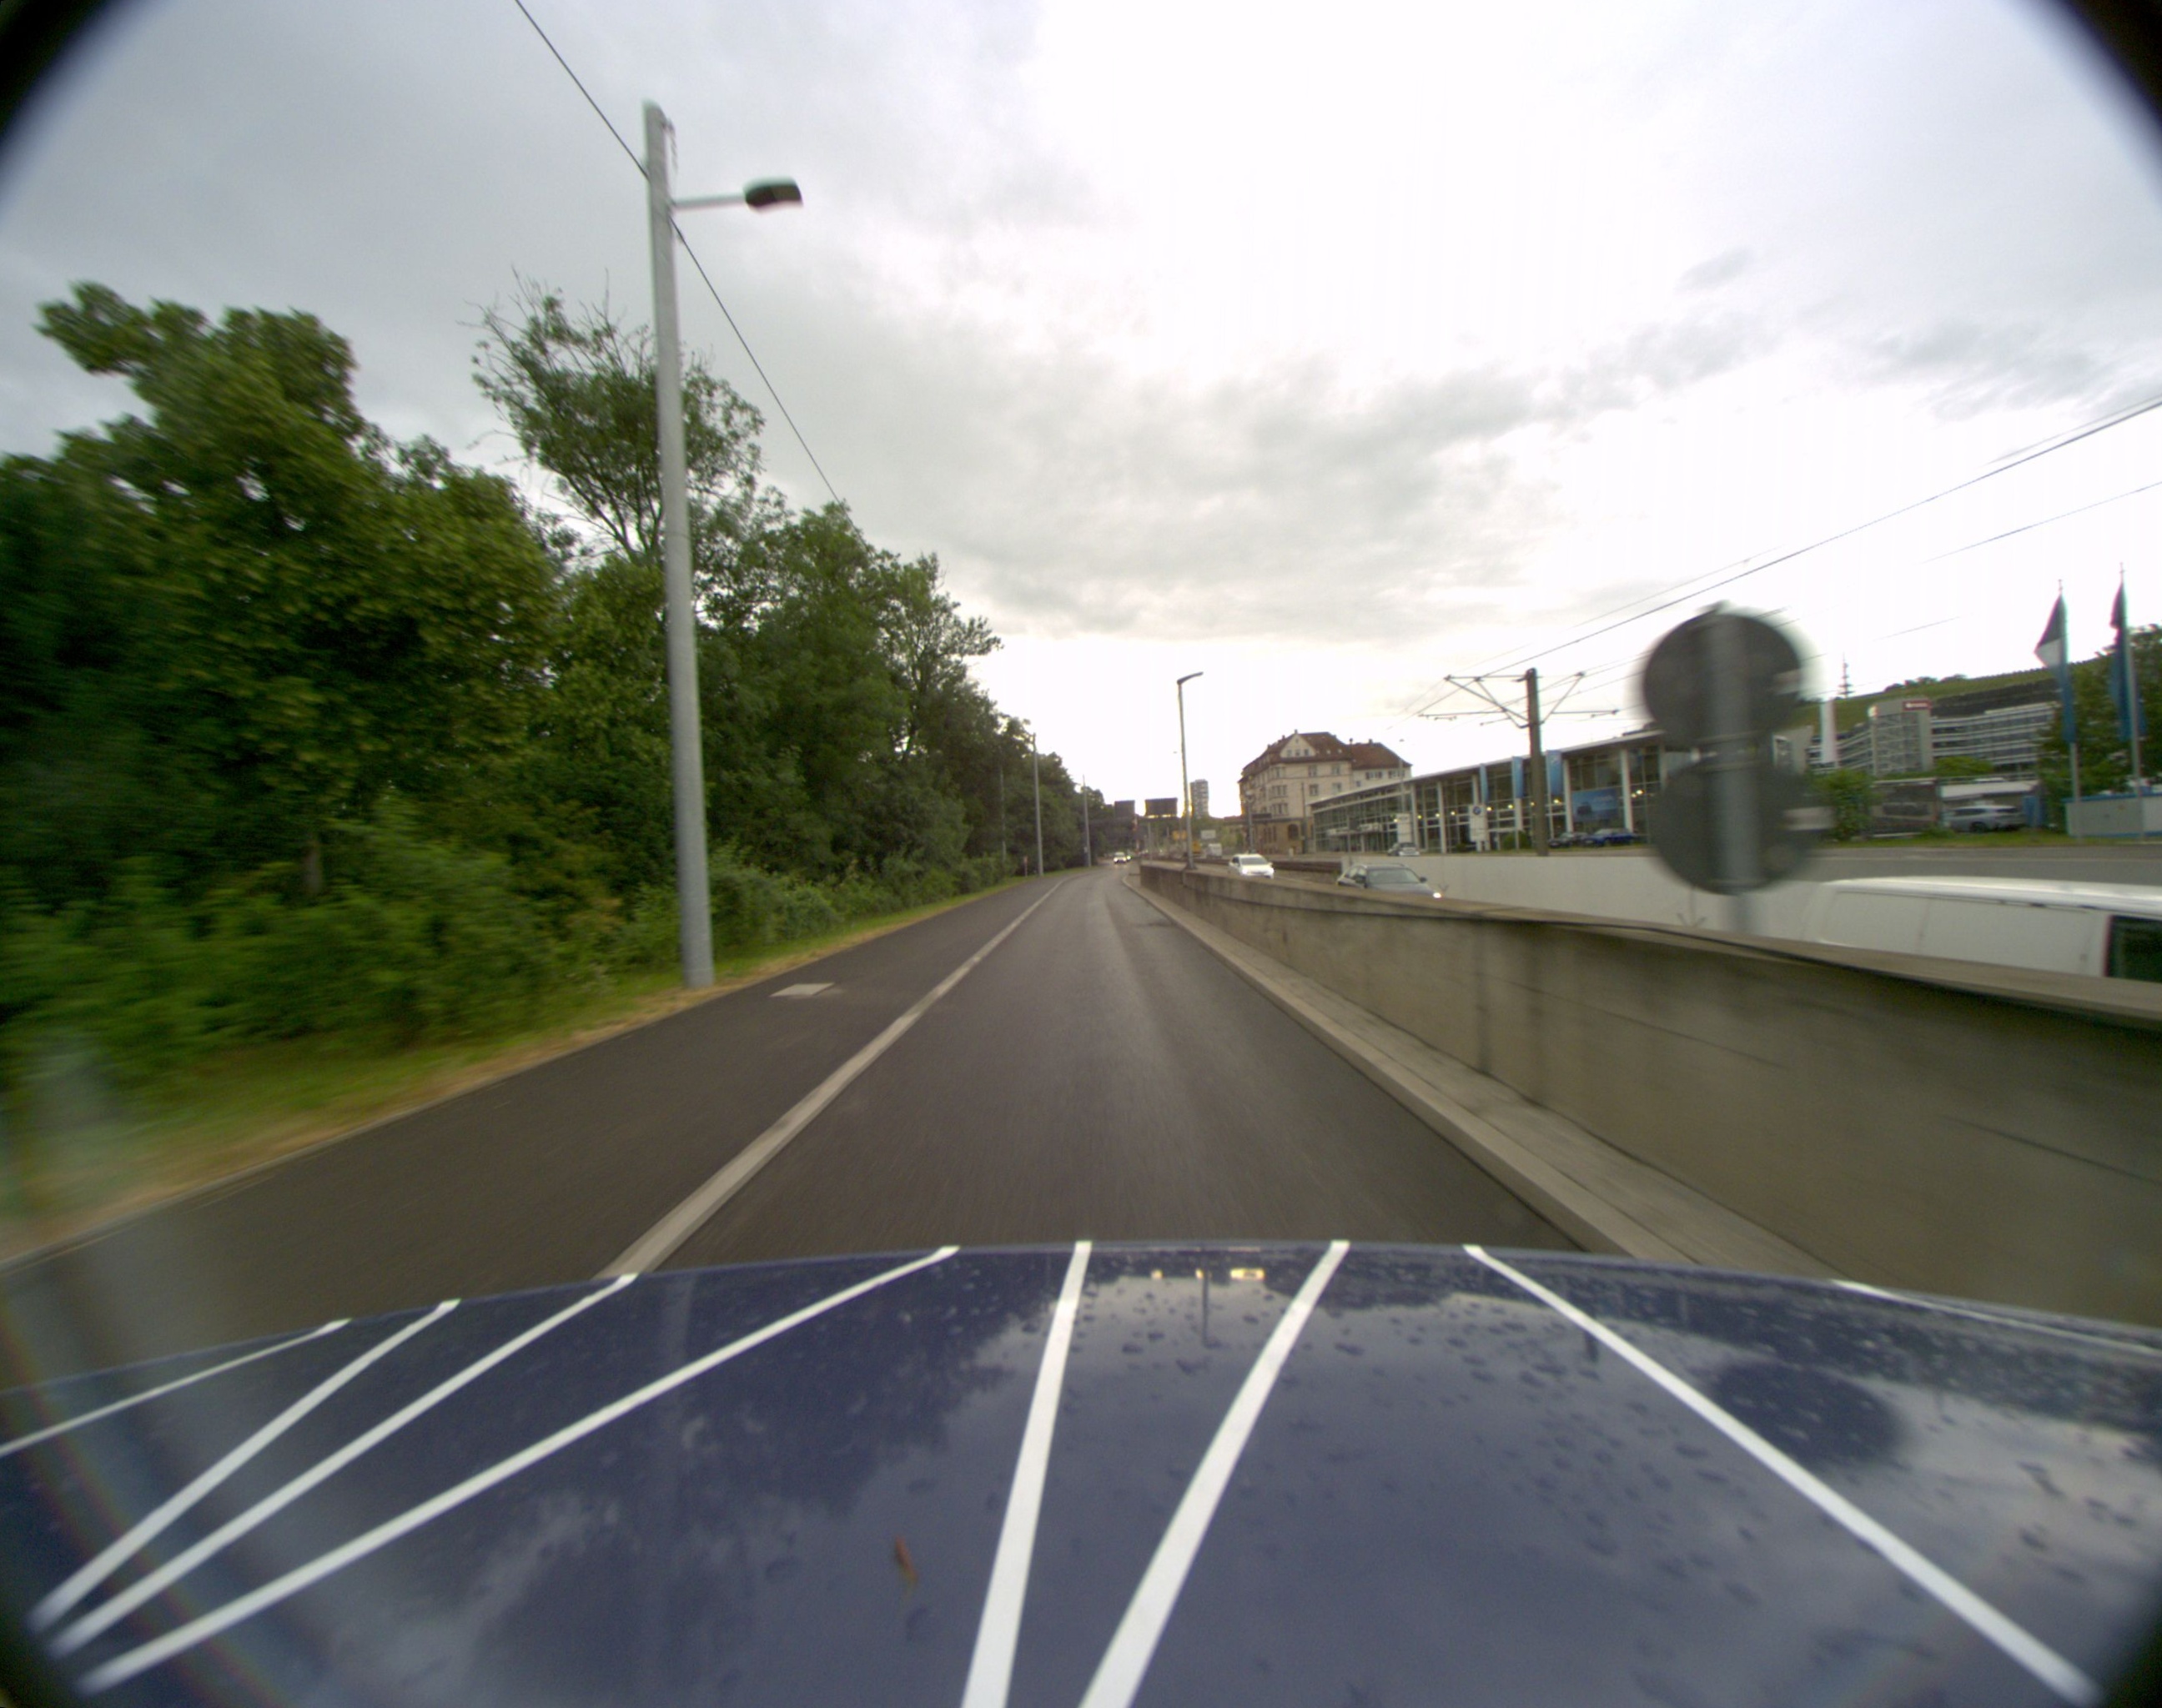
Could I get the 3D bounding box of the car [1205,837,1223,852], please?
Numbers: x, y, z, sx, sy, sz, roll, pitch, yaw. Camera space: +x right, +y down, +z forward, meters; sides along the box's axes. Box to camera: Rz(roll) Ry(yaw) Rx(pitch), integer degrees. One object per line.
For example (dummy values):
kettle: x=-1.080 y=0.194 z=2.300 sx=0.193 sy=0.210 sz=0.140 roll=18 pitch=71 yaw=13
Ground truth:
car: x=23.670 y=-1.659 z=135.305 sx=2.056 sy=2.583 sz=6.164 roll=-3 pitch=0 yaw=0

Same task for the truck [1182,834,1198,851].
truck: x=28.153 y=-2.899 z=197.156 sx=2.689 sy=4.028 sz=10.141 roll=-2 pitch=0 yaw=0

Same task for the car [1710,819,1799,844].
car: x=39.416 y=-1.299 z=44.535 sx=3.523 sy=1.267 sz=1.717 roll=-3 pitch=1 yaw=5

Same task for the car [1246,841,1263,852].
car: x=26.961 y=-1.175 z=118.095 sx=1.746 sy=1.507 sz=4.340 roll=-3 pitch=0 yaw=1

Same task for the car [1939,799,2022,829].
car: x=51.964 y=-2.284 z=43.946 sx=1.385 sy=1.564 sz=2.800 roll=-3 pitch=0 yaw=-1

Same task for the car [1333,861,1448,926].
car: x=8.688 y=1.054 z=21.708 sx=1.708 sy=1.564 sz=3.896 roll=-2 pitch=0 yaw=1

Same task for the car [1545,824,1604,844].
car: x=38.370 y=-1.520 z=59.114 sx=4.003 sy=1.227 sz=1.701 roll=-4 pitch=-2 yaw=-20

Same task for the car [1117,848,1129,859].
car: x=6.599 y=-0.126 z=119.380 sx=1.710 sy=1.585 sz=4.000 roll=-3 pitch=0 yaw=1

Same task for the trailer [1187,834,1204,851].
trailer: x=28.113 y=-2.832 z=187.578 sx=2.690 sy=4.028 sz=9.082 roll=-2 pitch=0 yaw=0

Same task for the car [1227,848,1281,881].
car: x=9.278 y=0.530 z=41.098 sx=1.982 sy=1.564 sz=4.319 roll=-2 pitch=0 yaw=1

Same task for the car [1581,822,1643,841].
car: x=39.468 y=-1.674 z=56.458 sx=4.003 sy=1.228 sz=1.757 roll=-3 pitch=1 yaw=-20

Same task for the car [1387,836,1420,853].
car: x=26.540 y=-0.805 z=62.565 sx=1.385 sy=1.292 sz=2.800 roll=-3 pitch=0 yaw=-1

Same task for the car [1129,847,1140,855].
car: x=10.037 y=-0.572 z=143.331 sx=1.710 sy=1.521 sz=4.000 roll=-3 pitch=0 yaw=1

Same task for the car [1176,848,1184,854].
car: x=33.297 y=-1.056 z=255.561 sx=1.998 sy=1.863 sz=5.193 roll=-3 pitch=0 yaw=0

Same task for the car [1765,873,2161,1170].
car: x=8.668 y=1.239 z=6.217 sx=1.914 sy=1.947 sz=4.718 roll=-3 pitch=0 yaw=2
